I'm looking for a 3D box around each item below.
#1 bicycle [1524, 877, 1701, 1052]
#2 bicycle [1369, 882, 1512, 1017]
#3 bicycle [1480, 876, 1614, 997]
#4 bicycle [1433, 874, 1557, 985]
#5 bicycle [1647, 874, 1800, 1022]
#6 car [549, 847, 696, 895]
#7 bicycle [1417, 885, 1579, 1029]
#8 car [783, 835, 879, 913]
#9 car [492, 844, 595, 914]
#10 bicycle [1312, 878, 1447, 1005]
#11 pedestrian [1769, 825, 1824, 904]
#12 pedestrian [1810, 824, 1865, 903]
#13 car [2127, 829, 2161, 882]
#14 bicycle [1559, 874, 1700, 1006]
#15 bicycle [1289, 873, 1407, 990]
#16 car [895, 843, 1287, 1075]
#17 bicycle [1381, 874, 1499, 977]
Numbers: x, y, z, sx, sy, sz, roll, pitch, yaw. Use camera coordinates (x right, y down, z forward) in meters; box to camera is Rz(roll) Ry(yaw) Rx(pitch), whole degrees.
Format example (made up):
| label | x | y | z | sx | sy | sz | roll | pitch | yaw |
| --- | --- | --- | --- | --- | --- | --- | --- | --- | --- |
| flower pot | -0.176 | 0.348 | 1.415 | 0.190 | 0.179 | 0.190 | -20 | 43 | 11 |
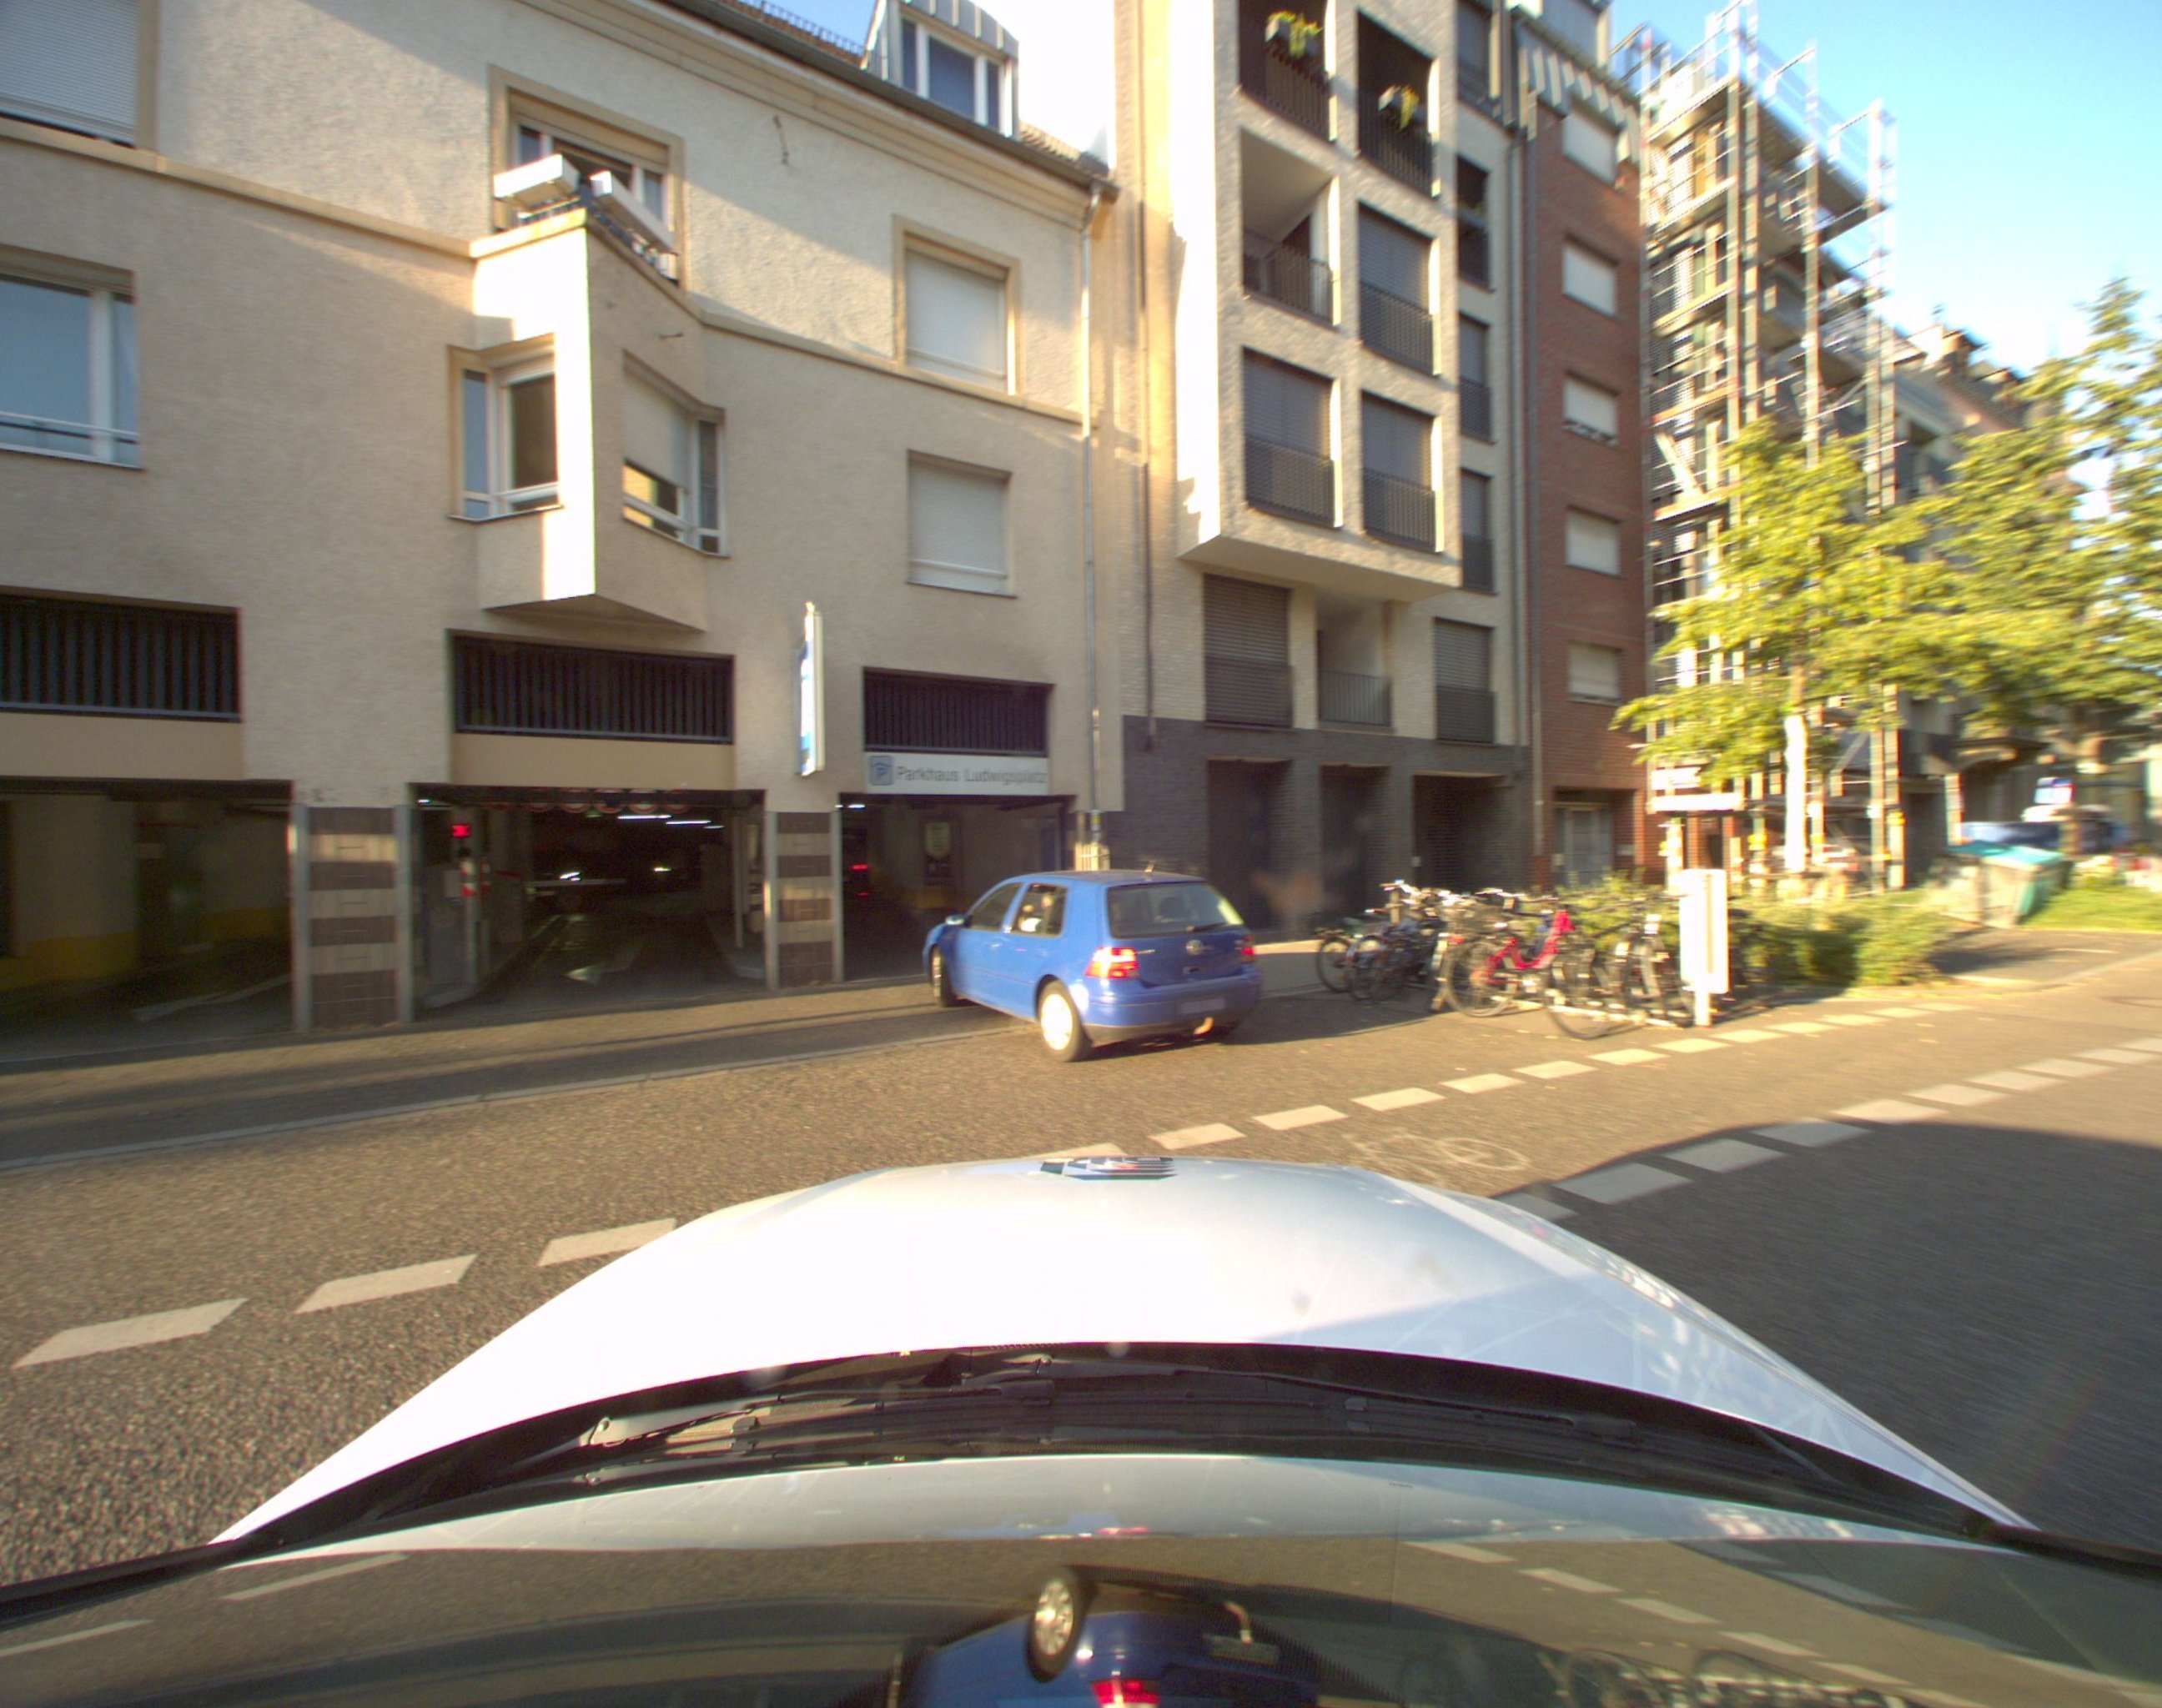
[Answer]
| label | x | y | z | sx | sy | sz | roll | pitch | yaw |
| --- | --- | --- | --- | --- | --- | --- | --- | --- | --- |
| bicycle | 4.284 | 0.823 | 6.539 | 1.556 | 1.220 | 0.494 | -1 | 0 | -28 |
| bicycle | 3.497 | 0.884 | 7.890 | 1.556 | 1.159 | 0.378 | -1 | 0 | -28 |
| bicycle | 4.998 | 0.837 | 8.710 | 1.556 | 1.149 | 0.484 | -1 | 0 | -28 |
| bicycle | 4.779 | 0.833 | 9.381 | 1.556 | 1.144 | 0.464 | -1 | 0 | -28 |
| bicycle | 5.846 | 0.800 | 7.389 | 1.556 | 1.178 | 0.504 | -1 | 0 | -28 |
| car | -16.779 | 0.602 | 29.968 | 4.276 | 1.624 | 1.889 | -1 | 0 | -3 |
| bicycle | 3.813 | 0.894 | 7.420 | 1.554 | 1.157 | 0.415 | -1 | 0 | -23 |
| car | -5.904 | 0.376 | 18.958 | 1.564 | 1.617 | 3.848 | -1 | 1 | -26 |
| car | -13.718 | 0.589 | 21.005 | 1.824 | 1.573 | 4.211 | -2 | 0 | -28 |
| bicycle | 3.160 | 0.878 | 8.571 | 1.556 | 1.189 | 0.384 | -1 | 0 | -28 |
| pedestrian | 16.463 | 0.231 | 18.738 | 0.658 | 1.783 | 0.737 | -1 | 0 | -27 |
| pedestrian | 17.453 | 0.211 | 18.787 | 0.658 | 1.783 | 0.736 | -1 | 0 | -29 |
| car | 35.328 | 0.041 | 24.804 | 1.894 | 1.684 | 3.967 | -1 | 1 | -25 |
| bicycle | 5.468 | 0.811 | 8.097 | 1.556 | 1.163 | 0.484 | -1 | 0 | -28 |
| bicycle | 2.995 | 0.828 | 9.101 | 1.409 | 1.183 | 0.384 | -1 | 0 | -28 |
| car | -0.202 | 0.742 | 7.704 | 1.700 | 1.563 | 4.075 | -1 | -1 | -33 |
| bicycle | 4.413 | 0.841 | 9.975 | 1.556 | 1.132 | 0.454 | -1 | 0 | -28 |
